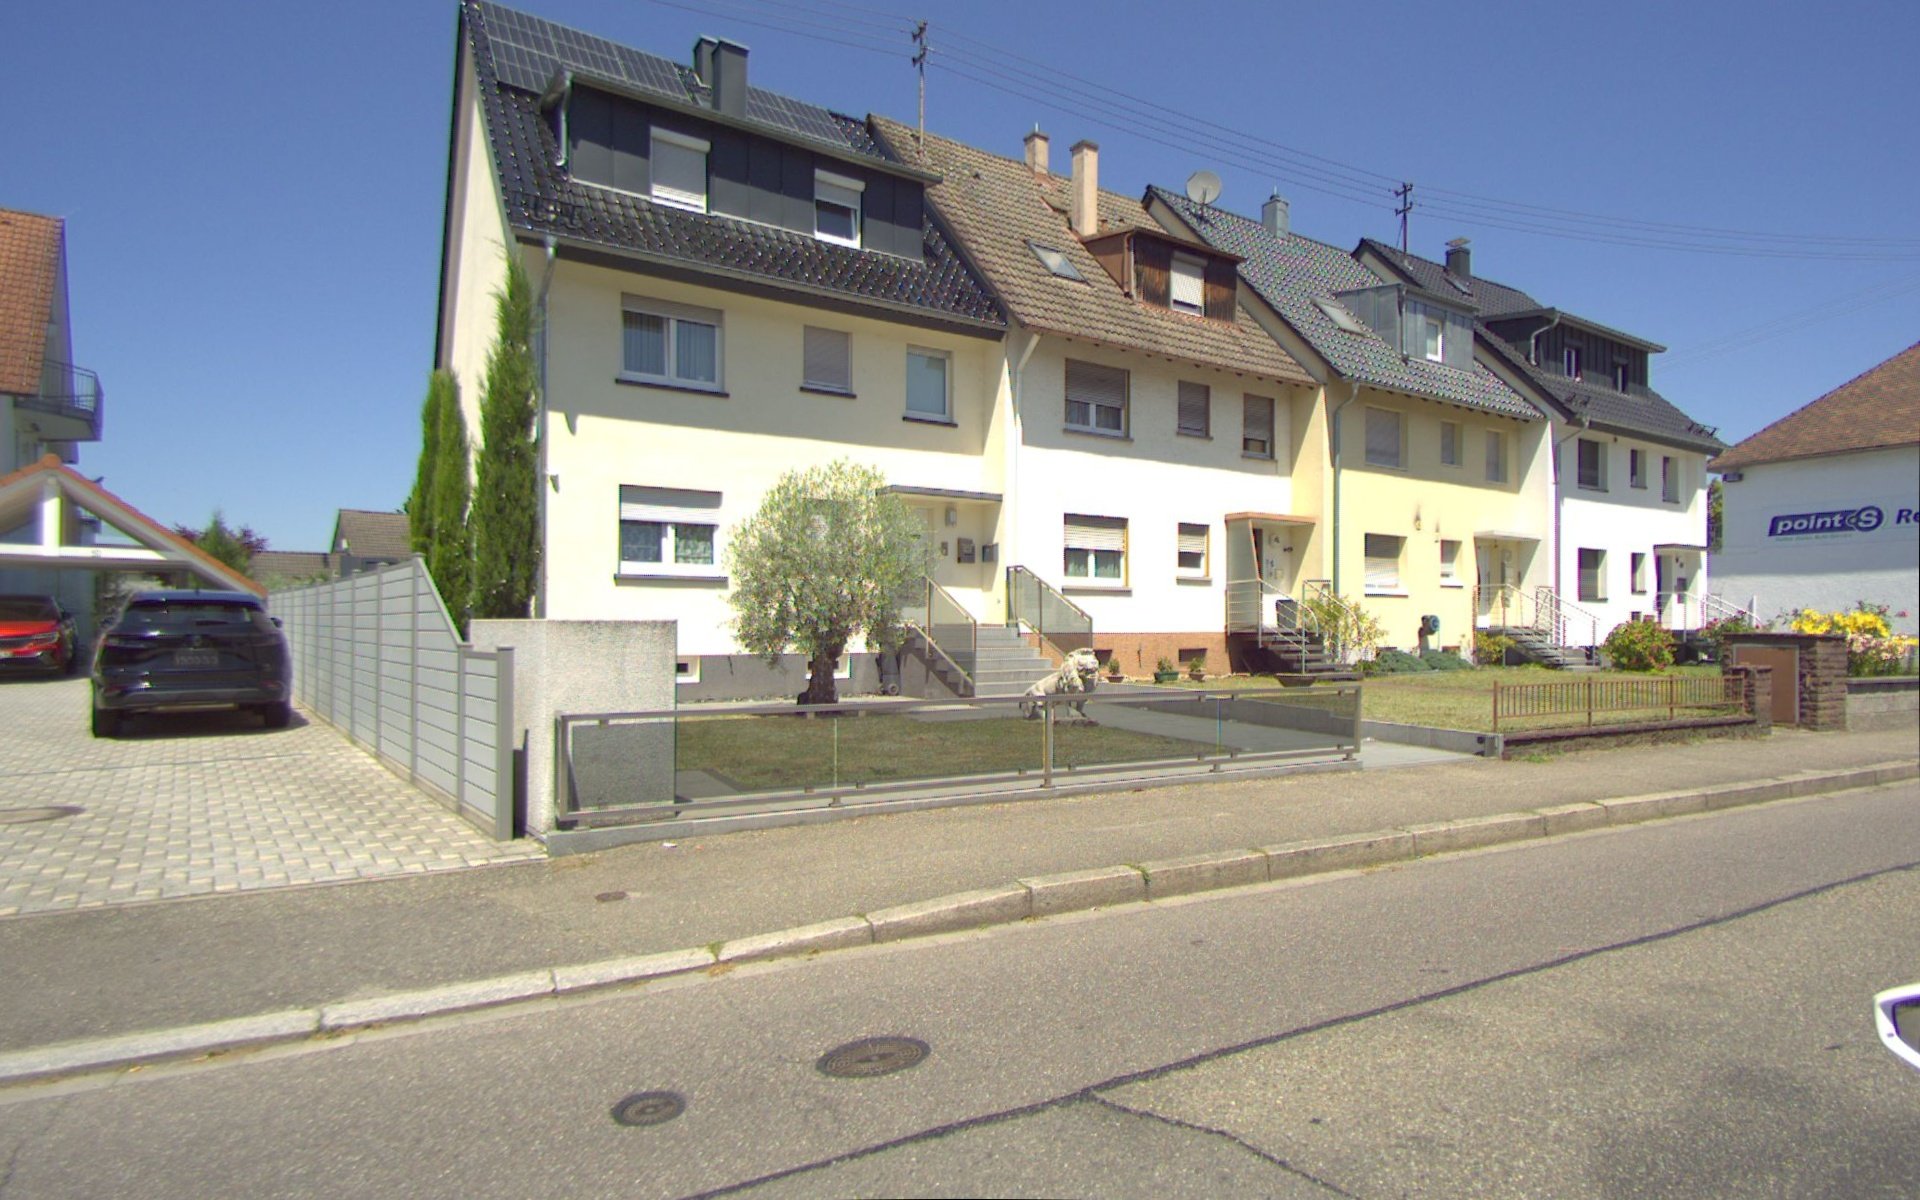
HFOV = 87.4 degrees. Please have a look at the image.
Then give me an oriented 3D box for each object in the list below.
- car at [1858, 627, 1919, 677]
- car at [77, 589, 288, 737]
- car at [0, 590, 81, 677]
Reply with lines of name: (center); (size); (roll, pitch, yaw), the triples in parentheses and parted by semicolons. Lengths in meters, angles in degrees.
car: (27.644, 1.477, 28.014); (1.797, 1.361, 4.144); (1, -1, 6)
car: (-9.604, 0.673, 12.485); (1.784, 1.530, 3.956); (1, -1, -38)
car: (-18.209, 0.596, 19.264); (1.784, 1.530, 3.956); (1, -1, -38)
